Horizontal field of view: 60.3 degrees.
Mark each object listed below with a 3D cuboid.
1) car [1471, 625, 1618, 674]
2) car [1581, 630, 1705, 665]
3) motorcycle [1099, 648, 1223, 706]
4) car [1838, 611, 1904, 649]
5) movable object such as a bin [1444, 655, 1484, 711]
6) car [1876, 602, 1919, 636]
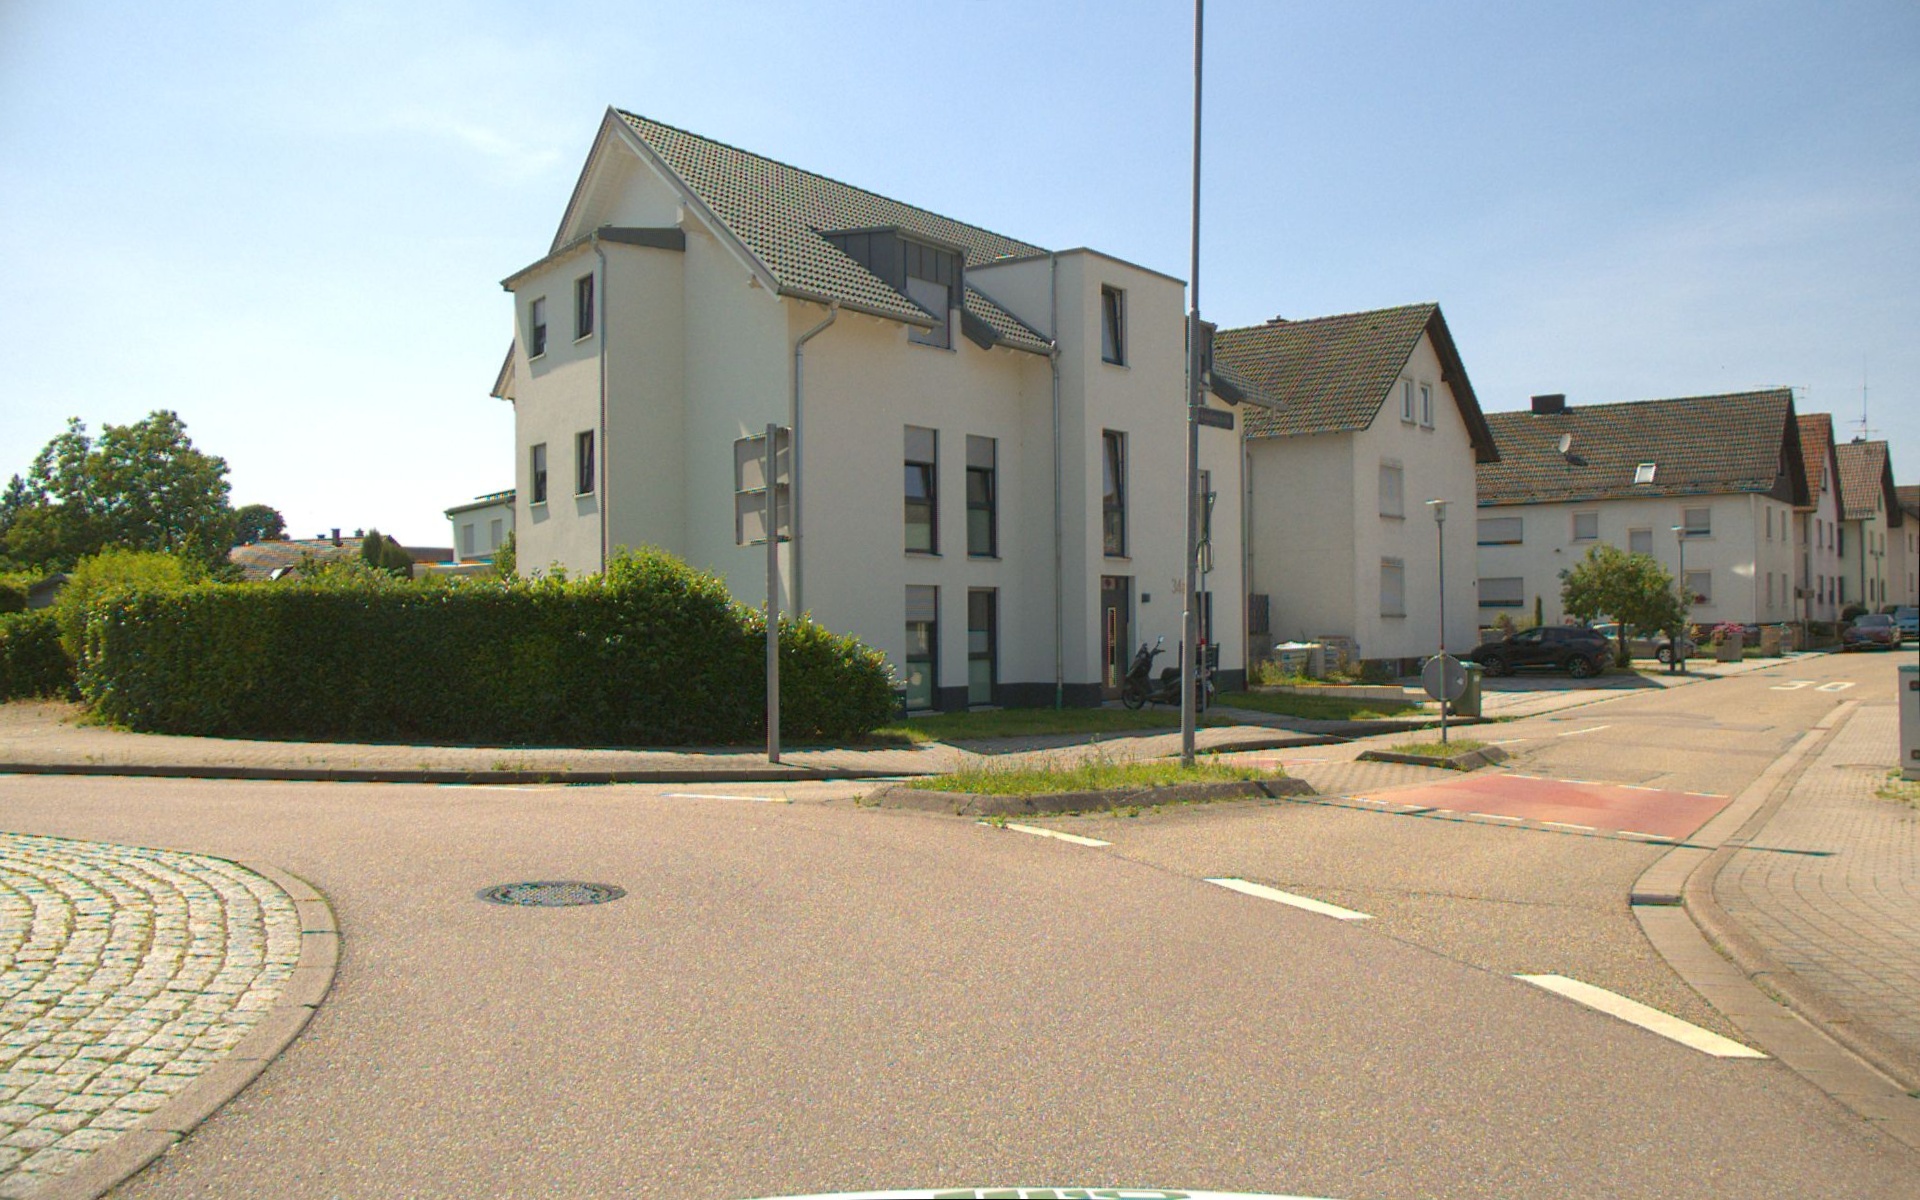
[{"bbox_3d":[17.587,1.471,49.811,3.917,1.408,1.655,-1,-1,34],"label":"car"},{"bbox_3d":[24.934,1.706,60.398,3.917,1.211,1.835,-1,-1,34],"label":"car"},{"bbox_3d":[3.759,1.440,31.081,2.324,1.031,0.668,-1,-3,40],"label":"motorcycle"},{"bbox_3d":[38.979,1.251,70.764,1.960,1.580,3.984,-1,-1,37],"label":"car"},{"bbox_3d":[10.229,1.686,33.586,0.636,1.102,0.456,-1,-1,44],"label":"movable object such as a bin"},{"bbox_3d":[47.026,0.974,82.902,1.888,1.632,3.992,-1,-1,30],"label":"car"}]
